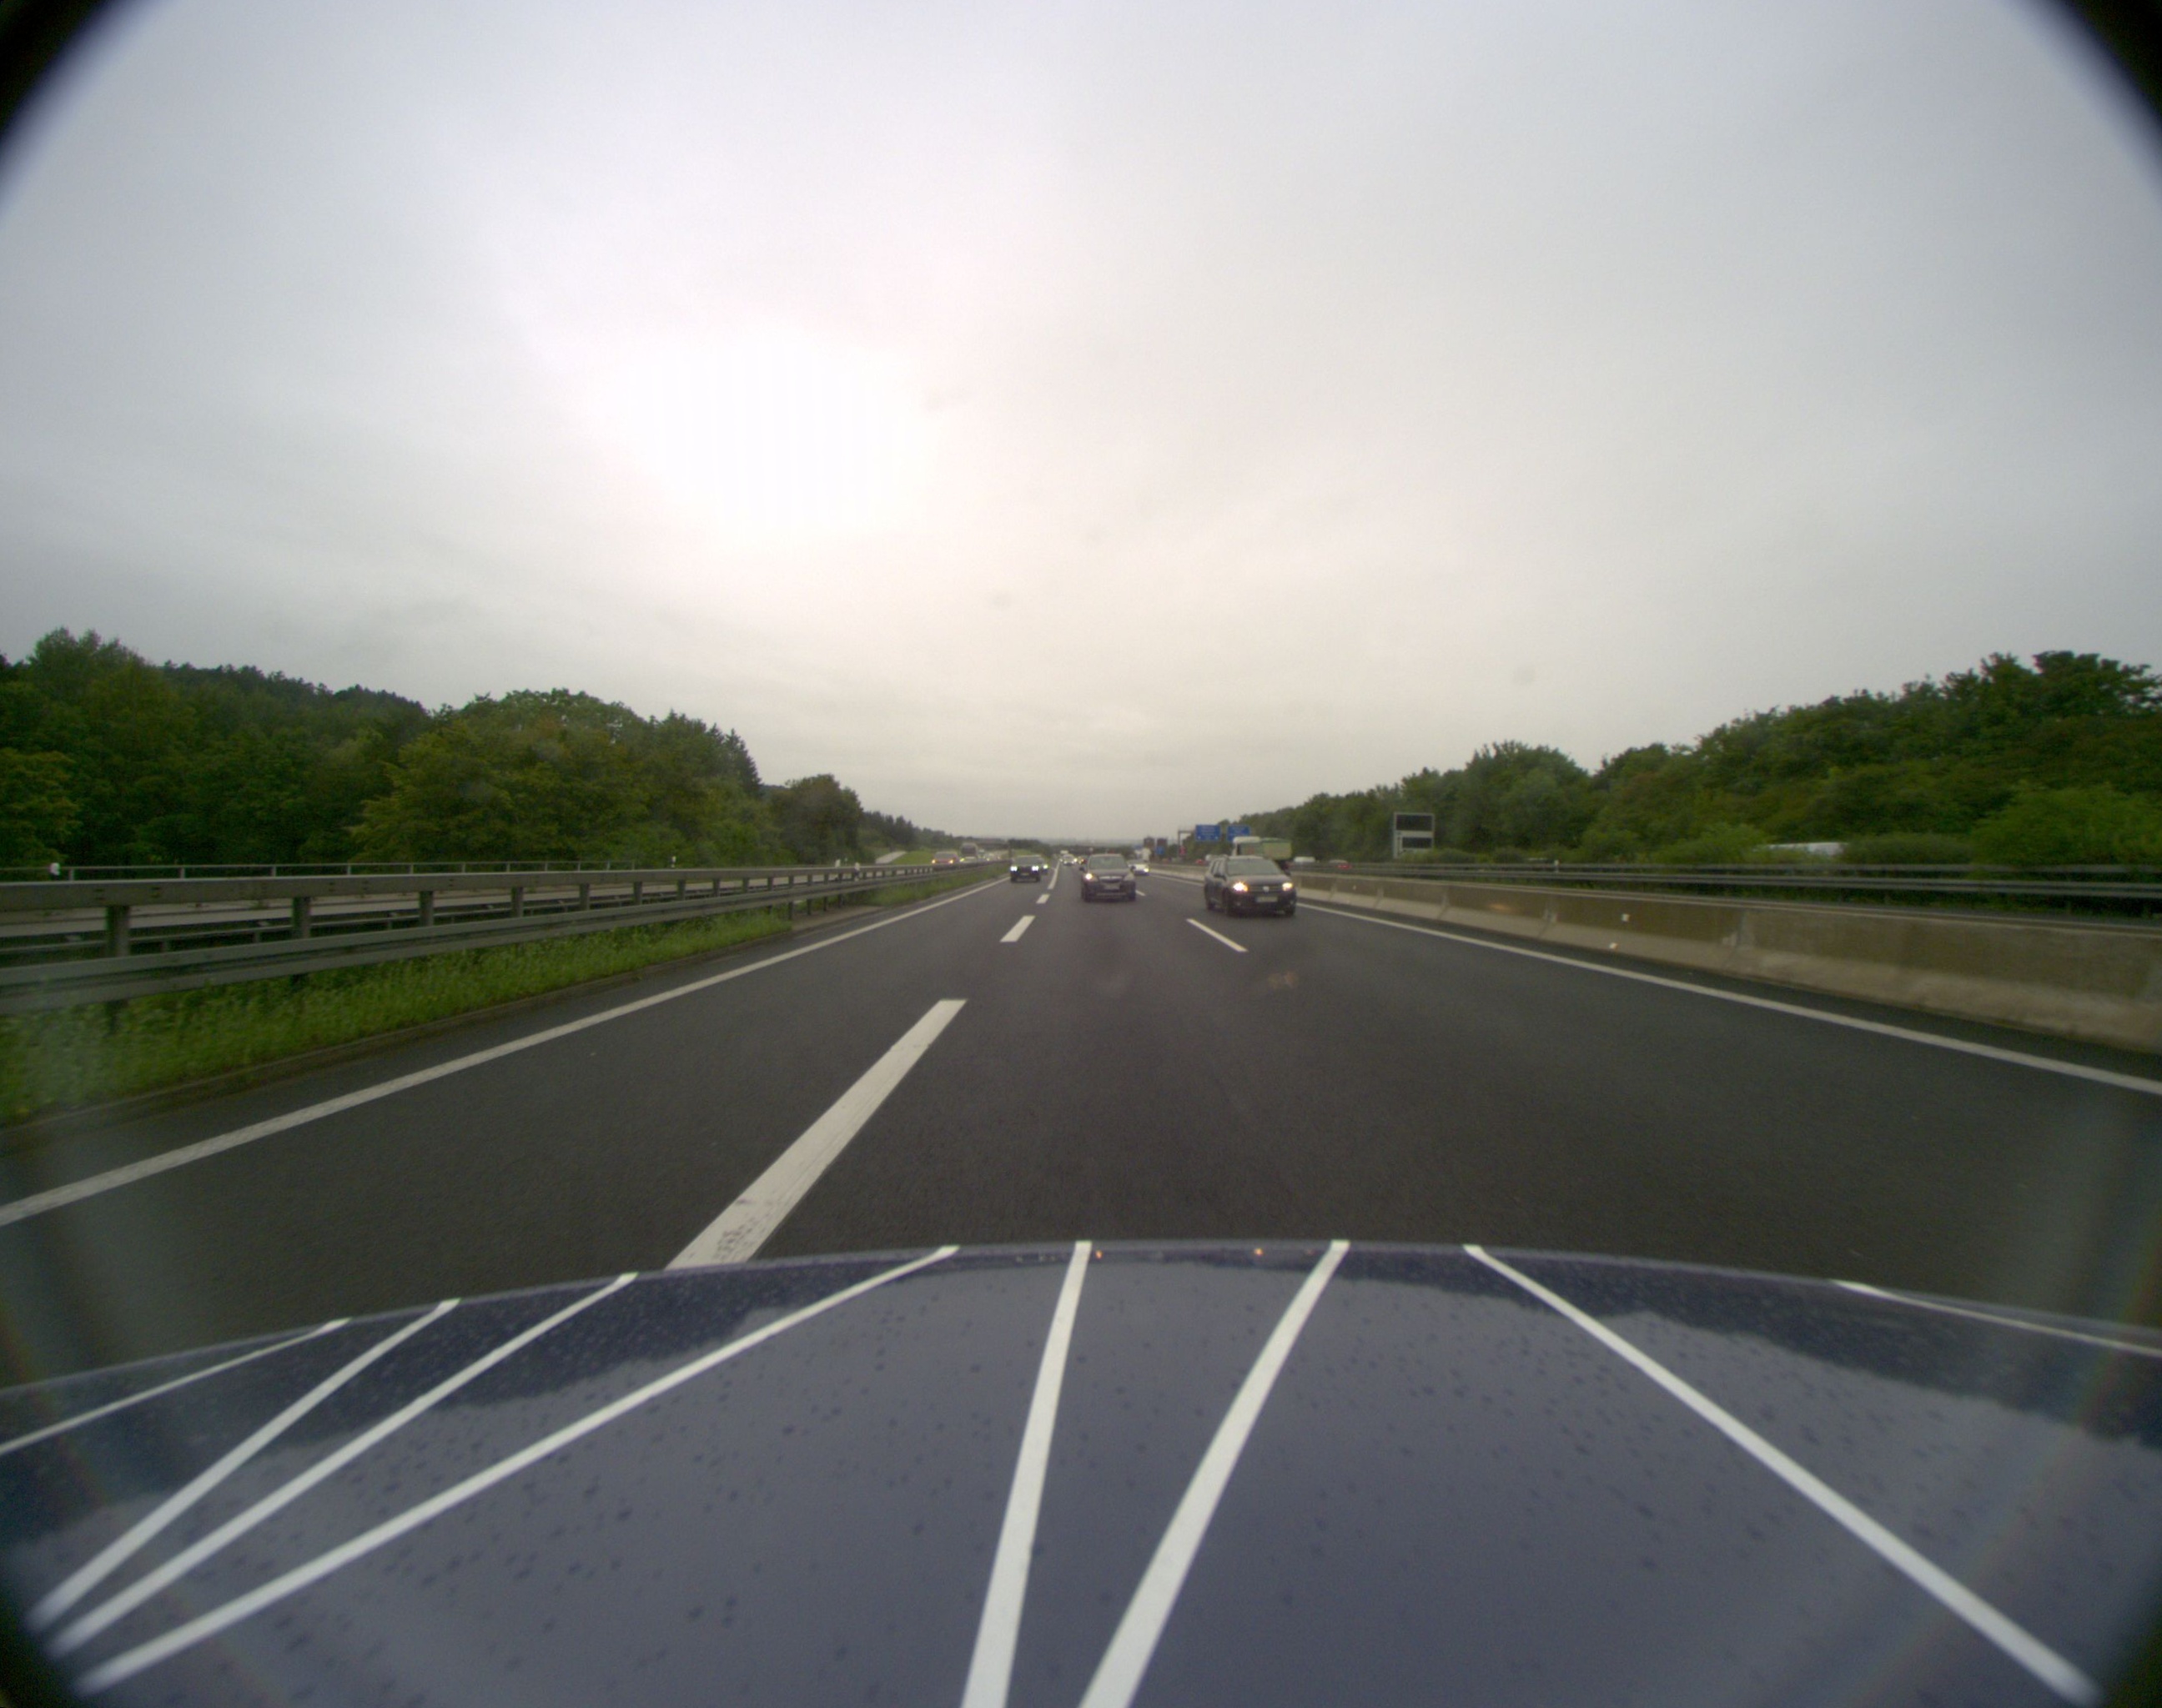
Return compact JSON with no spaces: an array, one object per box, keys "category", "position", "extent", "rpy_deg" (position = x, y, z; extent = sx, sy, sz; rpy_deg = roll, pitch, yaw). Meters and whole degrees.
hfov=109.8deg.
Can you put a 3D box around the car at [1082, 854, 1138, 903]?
[{"category":"car","position":[0.976,0.824,27.212],"extent":[1.813,1.571,3.834],"rpy_deg":[-1,1,0]}]

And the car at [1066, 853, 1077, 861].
[{"category":"car","position":[-1.793,0.604,143.713],"extent":[1.919,1.481,4.565],"rpy_deg":[-1,1,-3]}]

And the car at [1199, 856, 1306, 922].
[{"category":"car","position":[4.367,0.821,20.056],"extent":[1.726,1.481,4.566],"rpy_deg":[-1,1,-1]}]

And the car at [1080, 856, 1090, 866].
[{"category":"car","position":[0.943,1.559,172.596],"extent":[2.100,2.148,4.406],"rpy_deg":[-1,1,-1]}]

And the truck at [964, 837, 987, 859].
[{"category":"truck","position":[-19.449,-1.050,140.326],"extent":[2.799,3.878,10.027],"rpy_deg":[-1,1,0]}]

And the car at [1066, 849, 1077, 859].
[{"category":"car","position":[-1.848,-0.037,149.845],"extent":[2.016,1.994,4.565],"rpy_deg":[-1,1,-3]}]

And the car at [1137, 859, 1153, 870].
[{"category":"car","position":[10.935,1.789,130.069],"extent":[1.901,1.865,4.540],"rpy_deg":[-1,1,-4]}]

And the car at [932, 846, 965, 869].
[{"category":"car","position":[-11.900,0.305,68.556],"extent":[2.130,2.002,5.076],"rpy_deg":[-1,1,-1]}]

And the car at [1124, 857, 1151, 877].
[{"category":"car","position":[4.611,1.027,62.572],"extent":[1.726,1.481,4.566],"rpy_deg":[-1,1,-1]}]

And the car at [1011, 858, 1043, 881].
[{"category":"car","position":[-3.541,1.014,50.864],"extent":[1.867,1.349,4.566],"rpy_deg":[-1,0,-1]}]

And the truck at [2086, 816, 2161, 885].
[{"category":"truck","position":[35.853,-0.104,23.200],"extent":[2.030,2.228,6.158],"rpy_deg":[0,0,-2]}]

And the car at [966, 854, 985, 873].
[{"category":"car","position":[-11.947,1.060,86.182],"extent":[1.752,2.002,4.497],"rpy_deg":[-1,1,-2]}]

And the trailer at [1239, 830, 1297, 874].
[{"category":"trailer","position":[16.793,-0.200,68.994],"extent":[2.910,3.727,8.926],"rpy_deg":[-1,1,-1]}]

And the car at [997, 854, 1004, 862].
[{"category":"car","position":[-20.257,1.023,191.468],"extent":[1.753,2.002,4.495],"rpy_deg":[-1,1,-6]}]

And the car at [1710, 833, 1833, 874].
[{"category":"car","position":[32.174,-0.013,35.587],"extent":[1.805,1.776,4.412],"rpy_deg":[0,0,1]}]

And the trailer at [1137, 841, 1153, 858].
[{"category":"trailer","position":[14.396,-1.069,170.591],"extent":[2.643,3.714,10.809],"rpy_deg":[-1,1,0]}]

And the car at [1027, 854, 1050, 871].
[{"category":"car","position":[-3.970,0.786,71.103],"extent":[1.886,1.519,3.999],"rpy_deg":[-1,1,0]}]

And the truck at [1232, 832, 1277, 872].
[{"category":"truck","position":[16.704,-0.235,73.678],"extent":[2.894,3.727,5.943],"rpy_deg":[-1,1,-1]}]

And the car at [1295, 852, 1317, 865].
[{"category":"car","position":[30.616,0.604,103.550],"extent":[1.805,1.776,4.412],"rpy_deg":[0,0,1]}]

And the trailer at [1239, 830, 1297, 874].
[{"category":"trailer","position":[16.793,-0.200,68.994],"extent":[2.910,3.727,8.926],"rpy_deg":[-1,1,-1]}]

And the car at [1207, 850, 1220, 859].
[{"category":"car","position":[29.599,0.092,169.433],"extent":[1.879,2.002,5.298],"rpy_deg":[-1,1,-1]}]

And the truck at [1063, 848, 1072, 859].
[{"category":"truck","position":[-4.694,-0.228,263.398],"extent":[2.799,3.878,10.027],"rpy_deg":[-1,1,0]}]

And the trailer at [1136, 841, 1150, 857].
[{"category":"trailer","position":[14.388,-1.108,175.548],"extent":[2.643,3.694,6.491],"rpy_deg":[-1,1,0]}]
